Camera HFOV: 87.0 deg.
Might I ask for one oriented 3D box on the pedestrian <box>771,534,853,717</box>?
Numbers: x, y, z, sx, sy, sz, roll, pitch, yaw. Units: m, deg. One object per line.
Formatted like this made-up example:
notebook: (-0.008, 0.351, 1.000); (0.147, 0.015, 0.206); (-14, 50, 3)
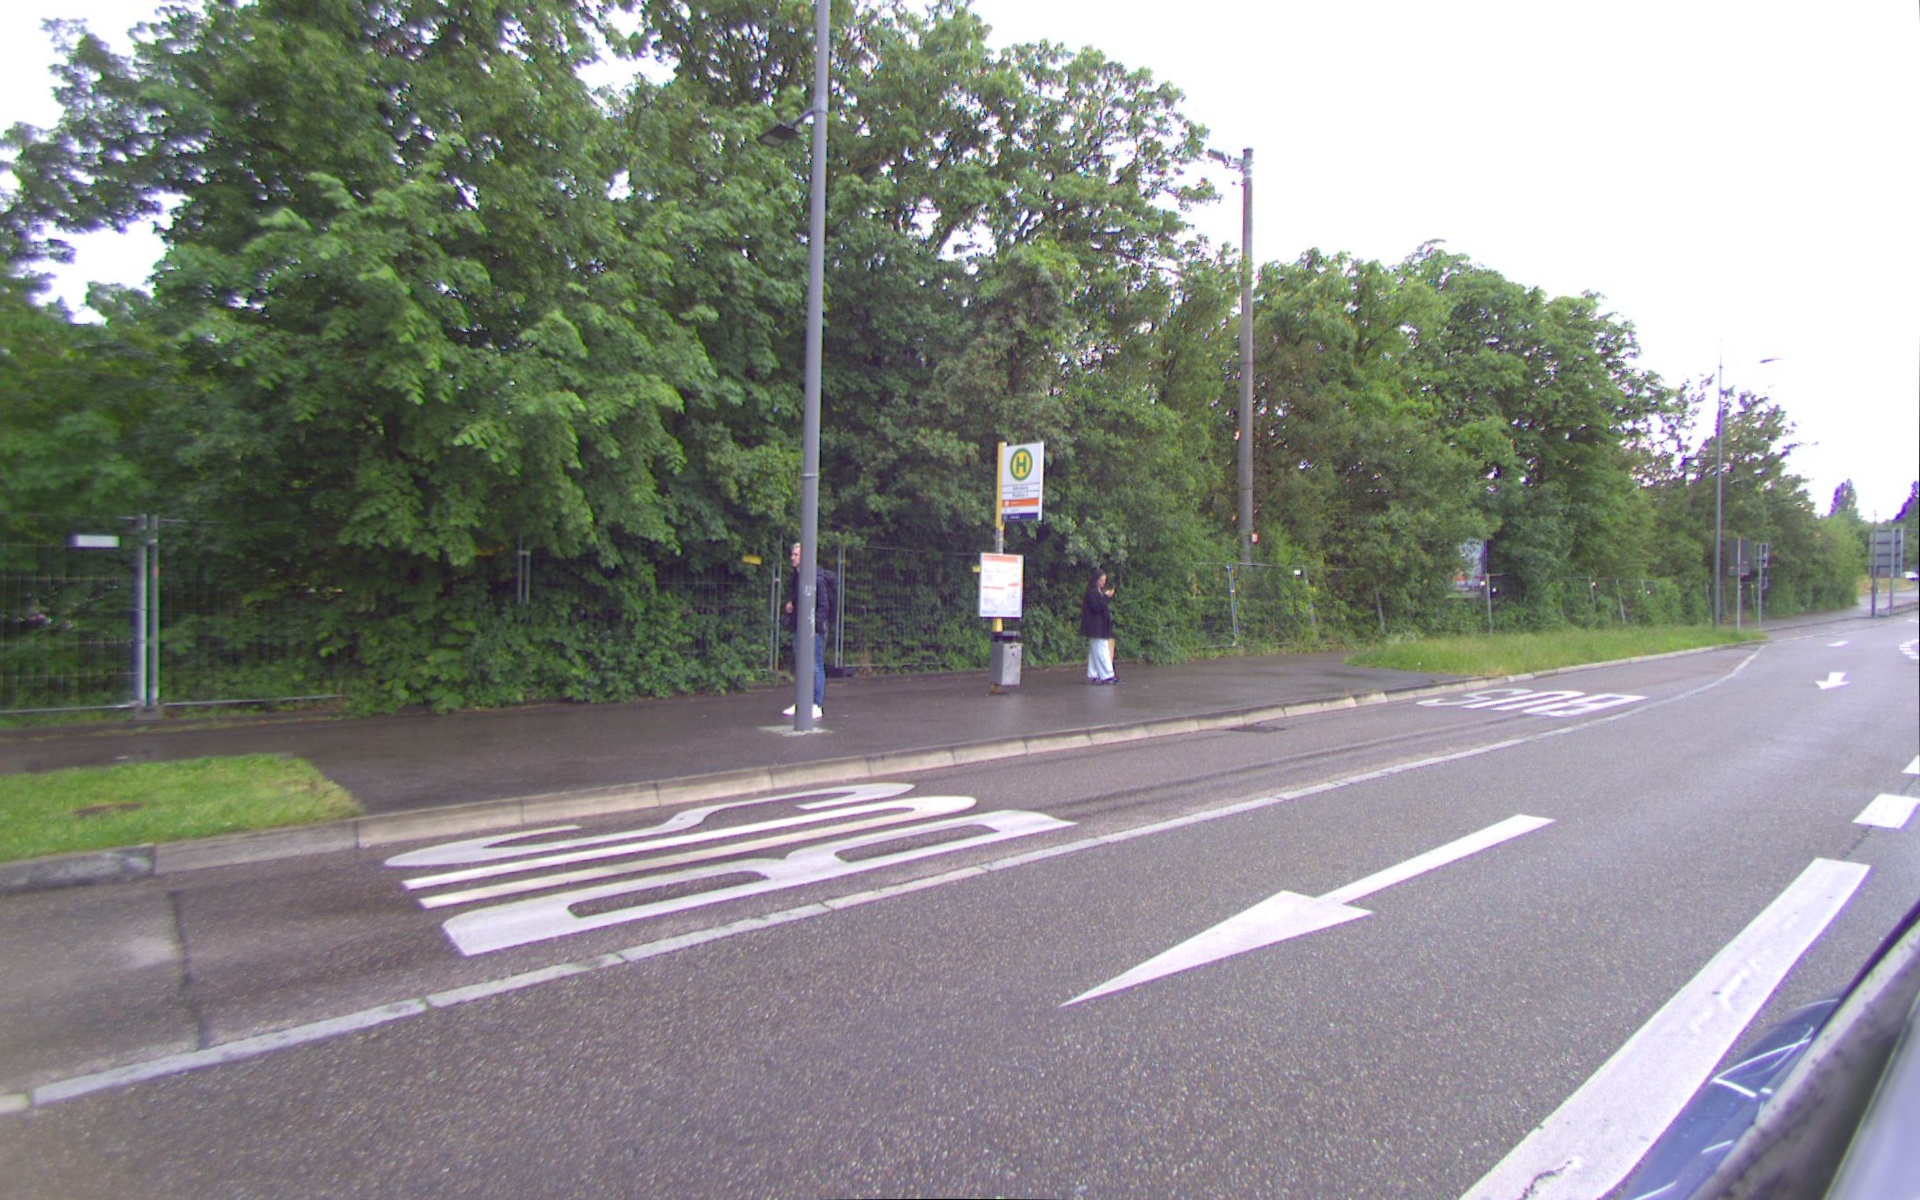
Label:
pedestrian: (-1.664, 0.264, 11.361); (0.587, 1.973, 0.742); (0, 1, -40)

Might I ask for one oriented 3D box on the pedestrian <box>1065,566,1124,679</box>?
pedestrian: (2.025, 0.325, 15.242); (0.650, 1.648, 0.588); (0, 1, -40)

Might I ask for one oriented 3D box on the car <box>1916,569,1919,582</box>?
car: (161.130, -4.076, 168.943); (3.929, 2.039, 1.806); (-1, 0, -40)
